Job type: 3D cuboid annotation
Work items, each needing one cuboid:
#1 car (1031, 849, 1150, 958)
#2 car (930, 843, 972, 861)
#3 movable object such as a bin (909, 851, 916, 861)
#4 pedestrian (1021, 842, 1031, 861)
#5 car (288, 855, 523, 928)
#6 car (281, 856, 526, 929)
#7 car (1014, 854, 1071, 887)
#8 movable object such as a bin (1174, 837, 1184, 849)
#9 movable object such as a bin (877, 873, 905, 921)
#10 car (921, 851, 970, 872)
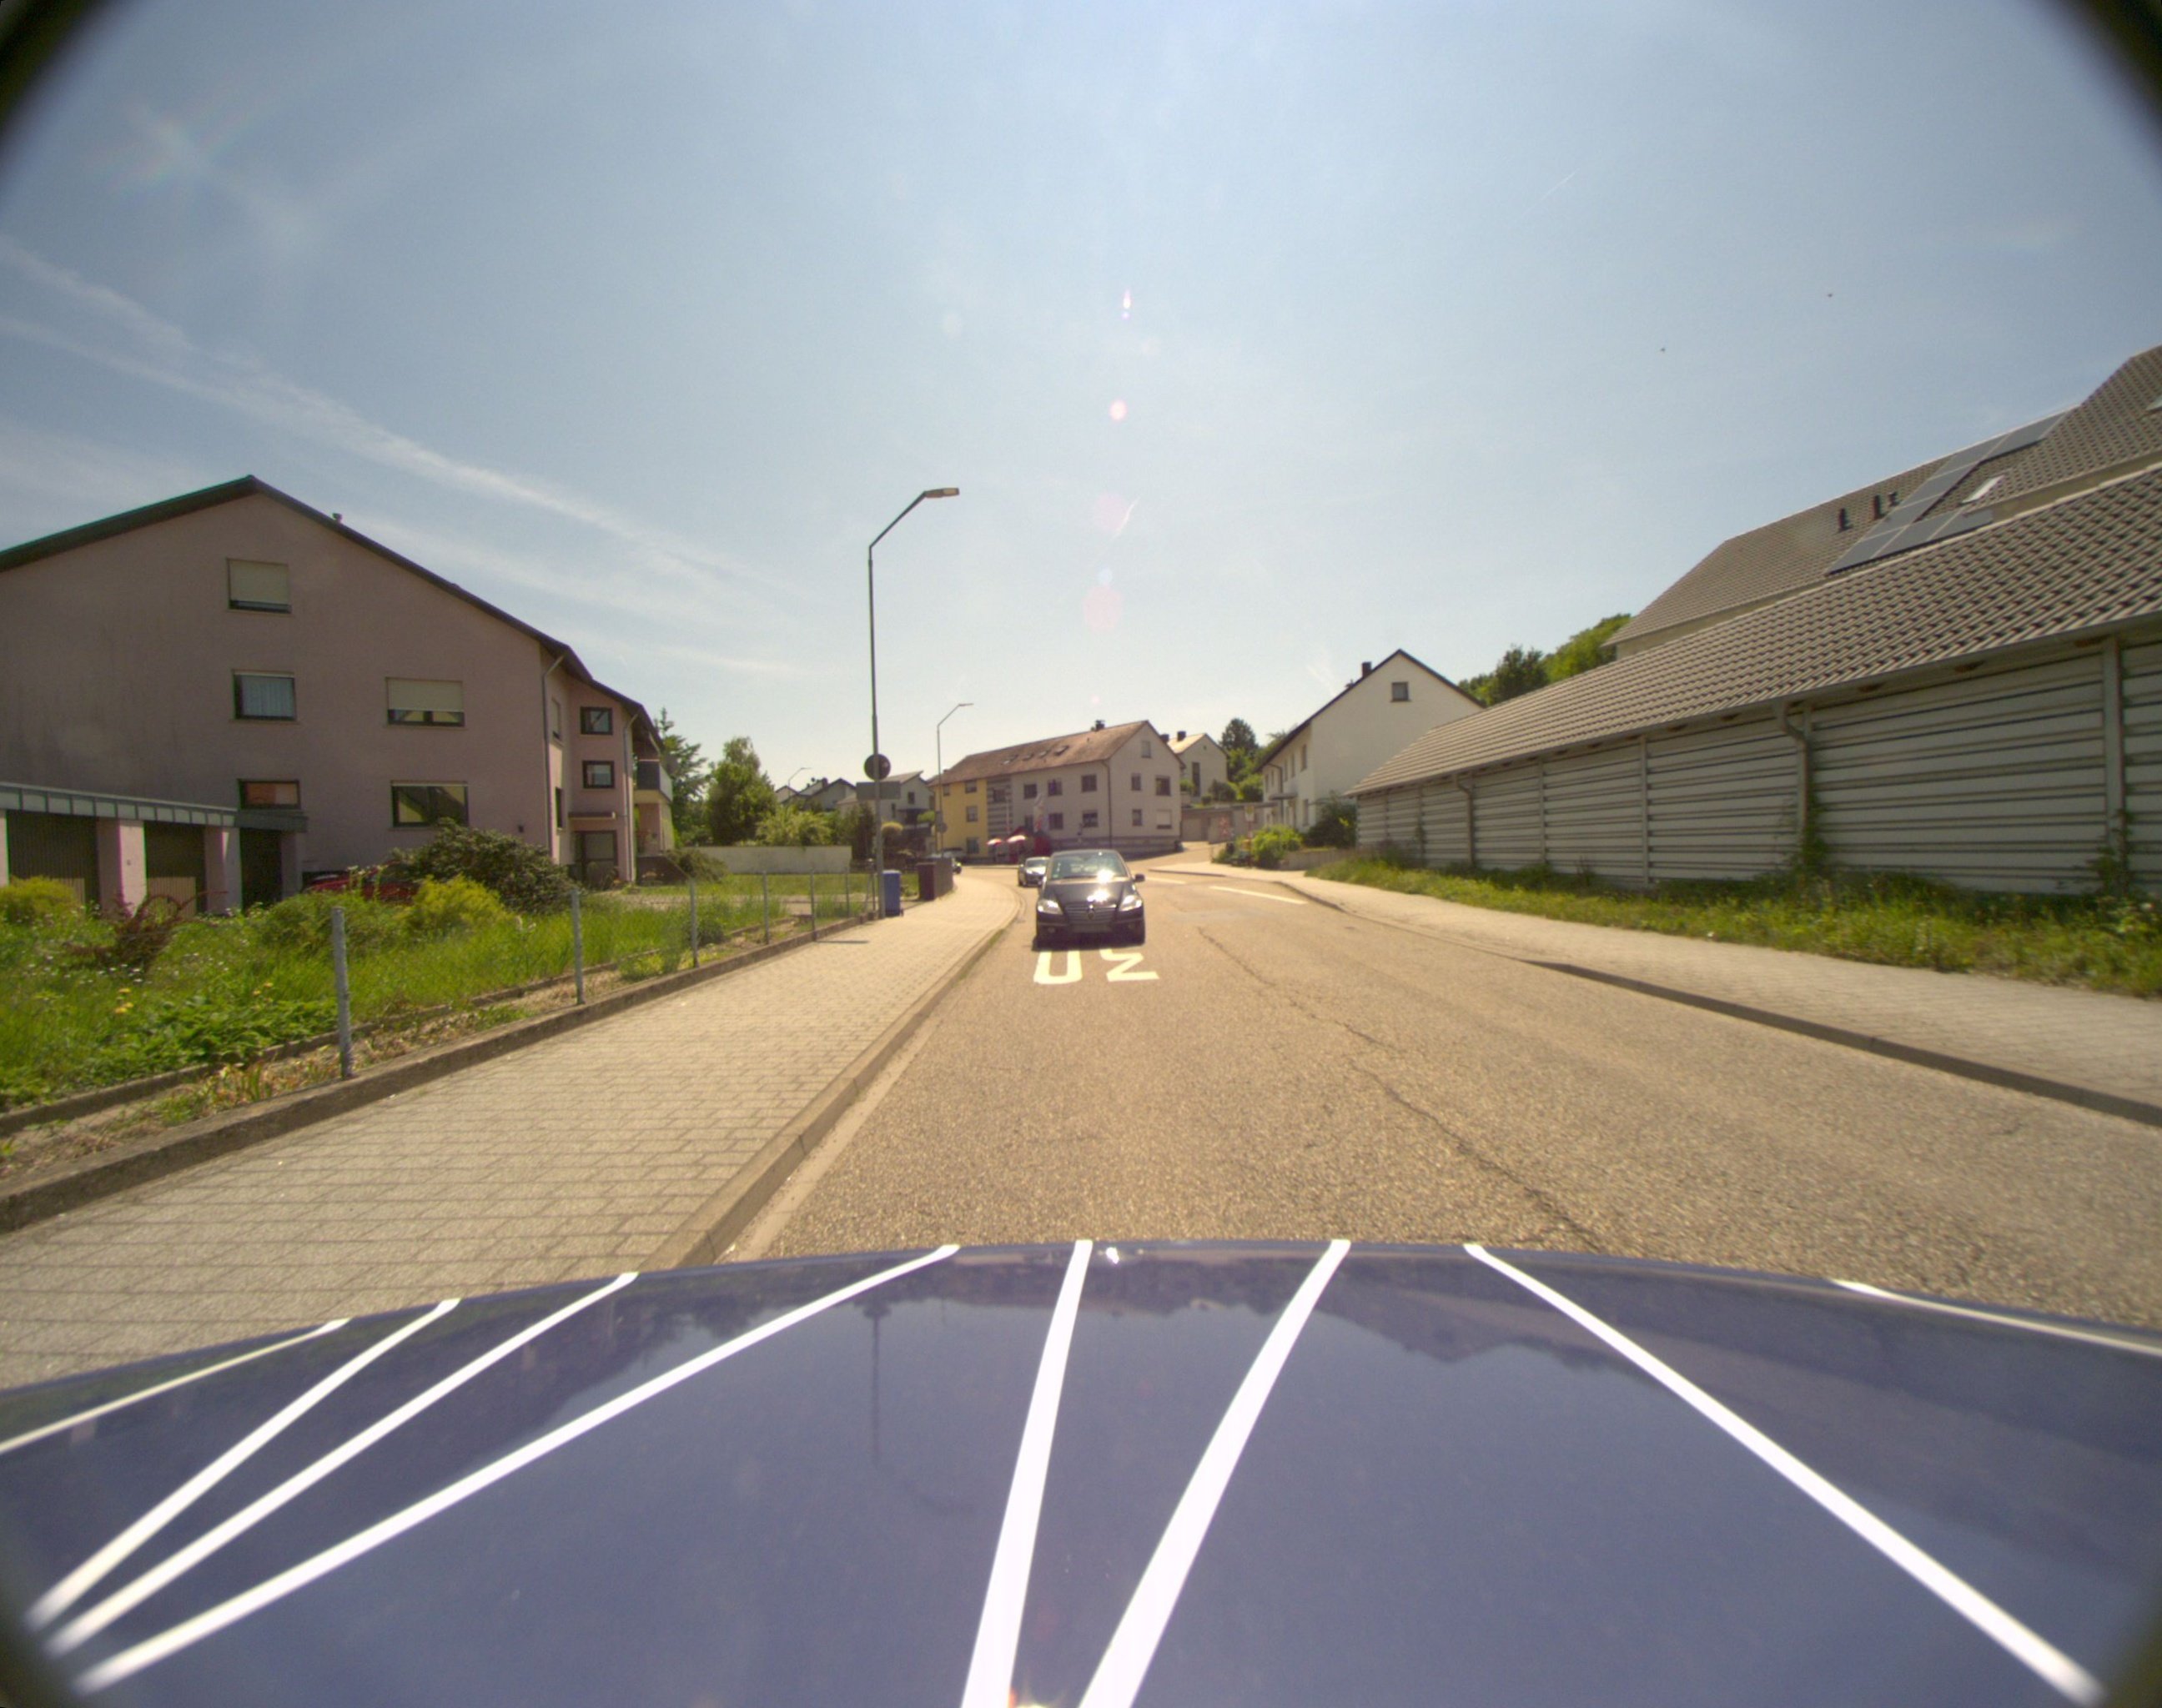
[{"bbox_3d":[0.054,0.755,13.931,1.765,1.583,4.196,-4,0,-3],"label":"car"},{"bbox_3d":[-12.146,-0.146,70.963,1.739,1.543,4.176,-4,2,-44],"label":"car"},{"bbox_3d":[-17.379,0.184,78.373,0.632,1.049,0.473,0,3,45],"label":"movable object such as a bin"},{"bbox_3d":[-4.568,-0.220,63.132,0.613,1.578,0.808,-4,1,-11],"label":"pedestrian"},{"bbox_3d":[-17.187,0.881,19.639,4.130,1.539,1.847,-3,1,-27],"label":"car"},{"bbox_3d":[-15.488,0.820,17.657,3.842,1.477,1.758,-1,1,-24],"label":"car"},{"bbox_3d":[-1.796,0.695,34.202,1.815,1.307,3.995,-3,1,-13],"label":"car"},{"bbox_3d":[7.860,-0.875,60.928,0.599,0.929,0.601,0,2,44],"label":"movable object such as a bin"},{"bbox_3d":[-4.434,0.990,17.723,0.567,1.051,0.650,-2,2,-16],"label":"movable object such as a bin"},{"bbox_3d":[-9.674,0.544,54.053,1.901,1.368,3.990,-3,1,-34],"label":"car"}]
